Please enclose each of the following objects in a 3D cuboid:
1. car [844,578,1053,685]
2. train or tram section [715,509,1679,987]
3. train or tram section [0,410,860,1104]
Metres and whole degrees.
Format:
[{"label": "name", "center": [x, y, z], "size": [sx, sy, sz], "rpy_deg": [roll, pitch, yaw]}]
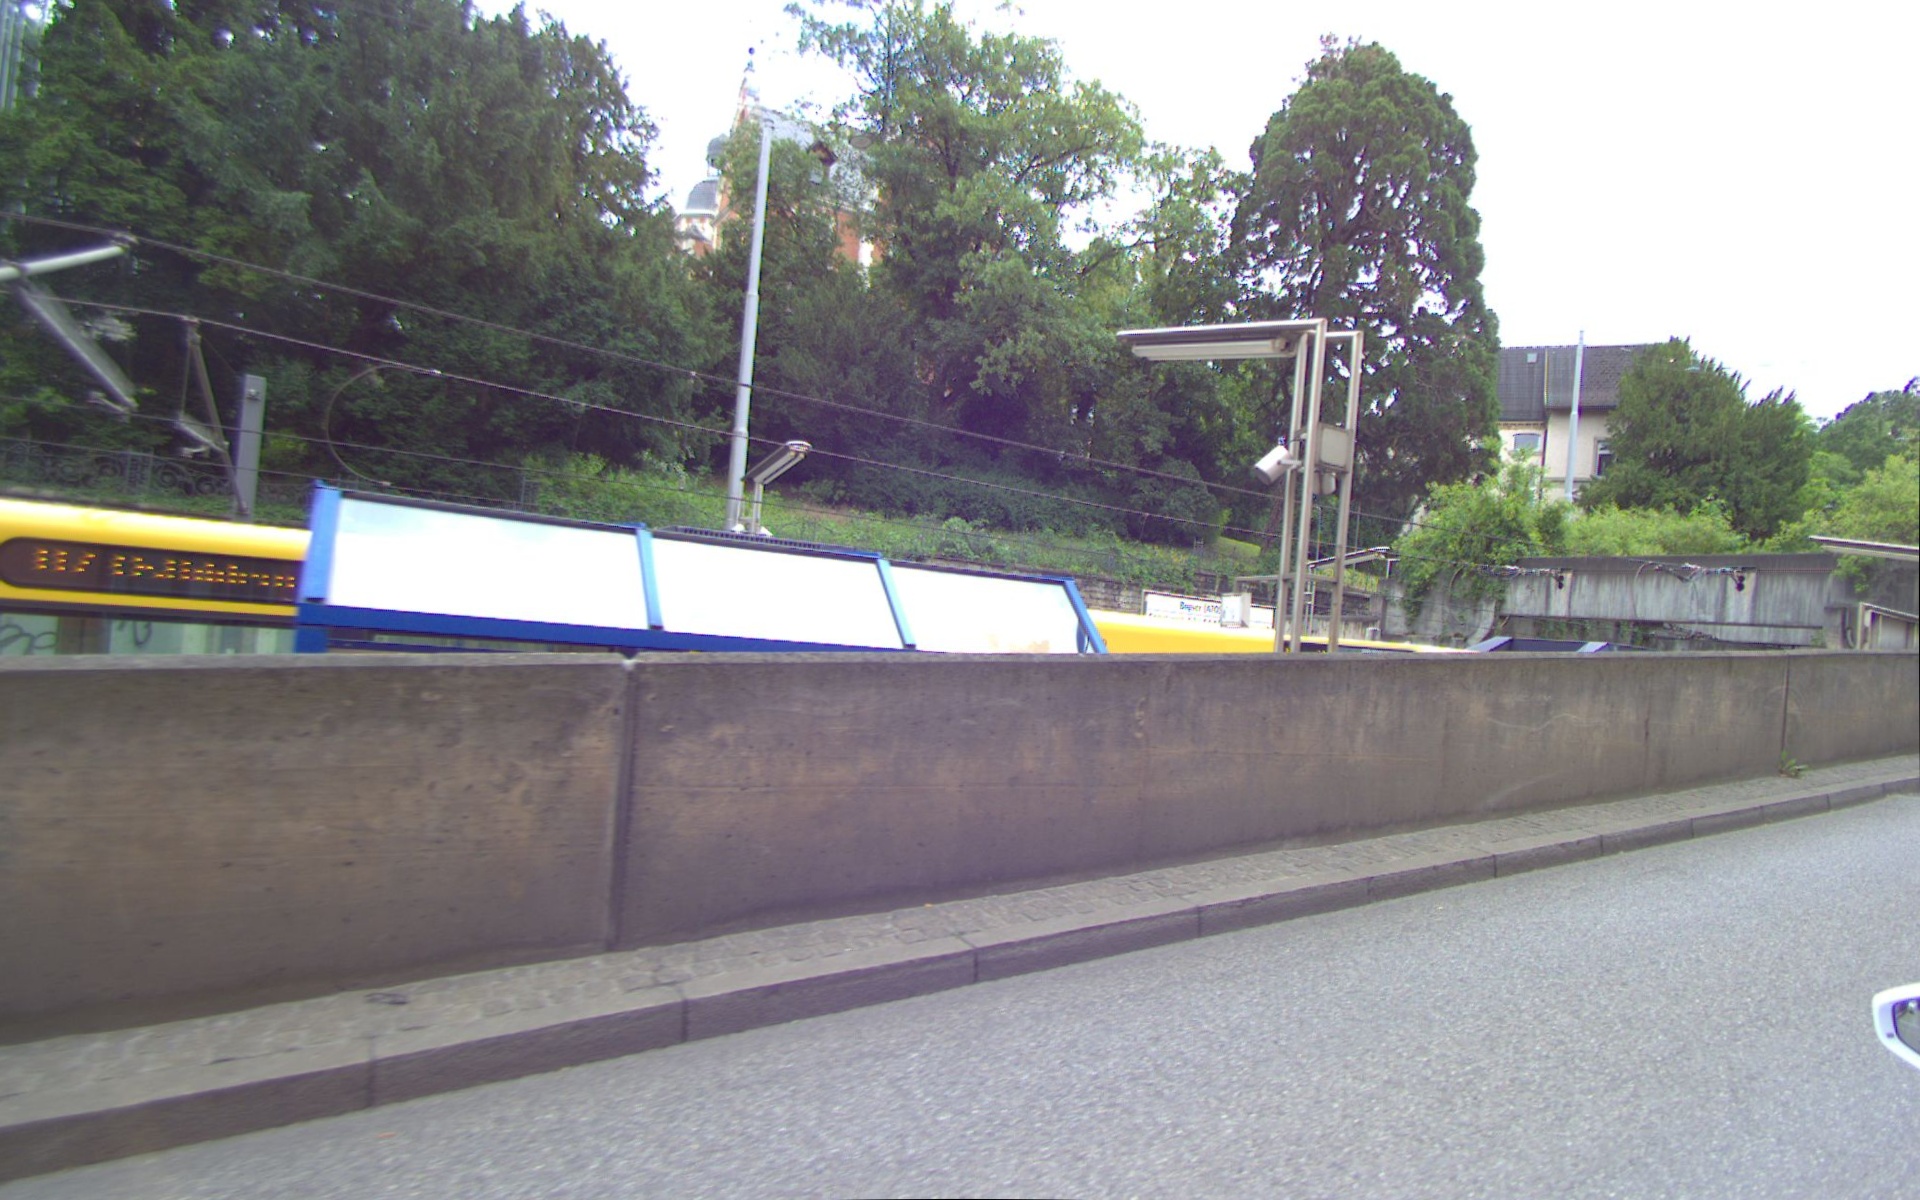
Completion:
[{"label": "car", "center": [-0.223, 0.670, 21.528], "size": [3.957, 2.040, 1.982], "rpy_deg": [2, 2, -32]}, {"label": "train or tram section", "center": [3.846, 1.407, 12.089], "size": [12.840, 3.555, 2.934], "rpy_deg": [3, -1, -31]}, {"label": "train or tram section", "center": [-6.744, 0.706, 5.694], "size": [12.080, 3.529, 2.934], "rpy_deg": [4, -1, -31]}]
